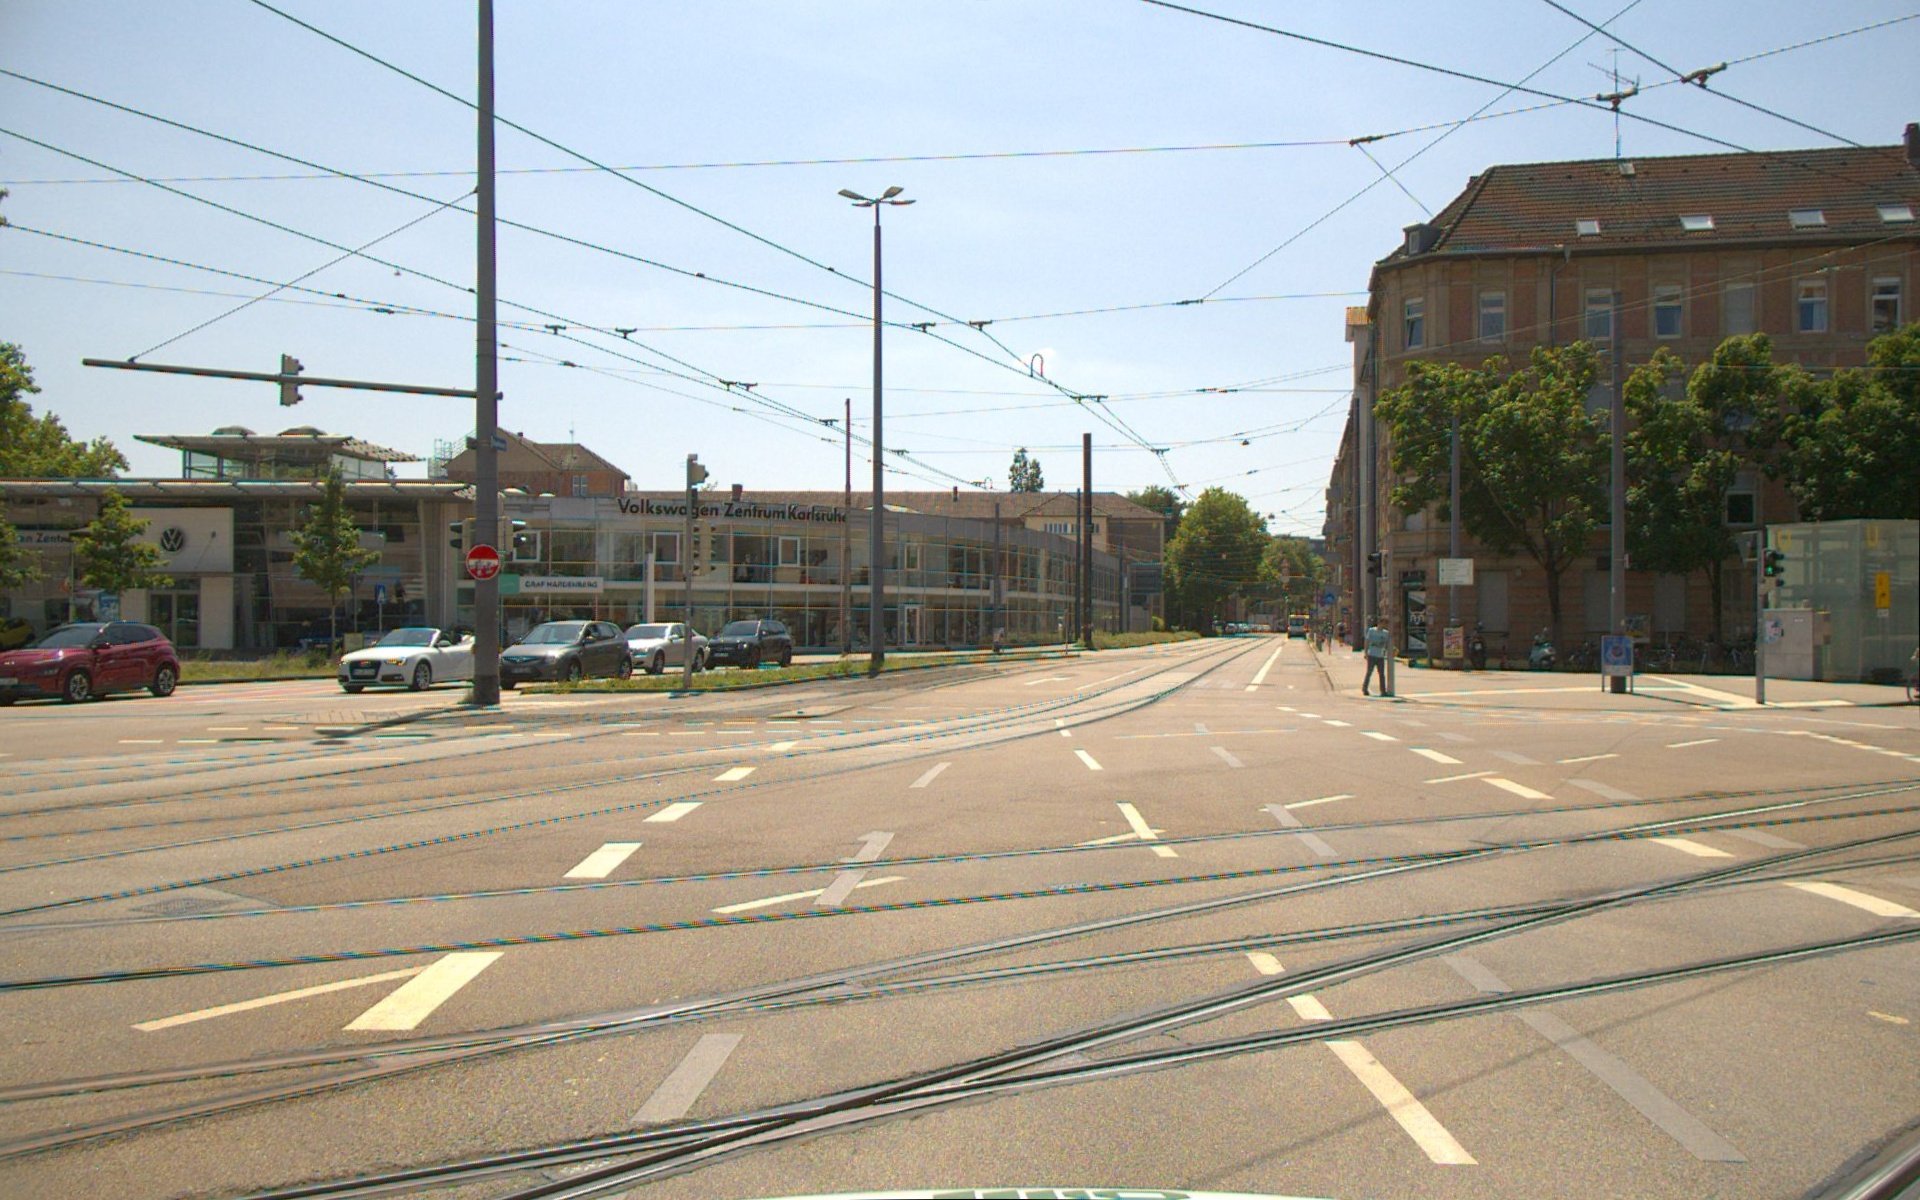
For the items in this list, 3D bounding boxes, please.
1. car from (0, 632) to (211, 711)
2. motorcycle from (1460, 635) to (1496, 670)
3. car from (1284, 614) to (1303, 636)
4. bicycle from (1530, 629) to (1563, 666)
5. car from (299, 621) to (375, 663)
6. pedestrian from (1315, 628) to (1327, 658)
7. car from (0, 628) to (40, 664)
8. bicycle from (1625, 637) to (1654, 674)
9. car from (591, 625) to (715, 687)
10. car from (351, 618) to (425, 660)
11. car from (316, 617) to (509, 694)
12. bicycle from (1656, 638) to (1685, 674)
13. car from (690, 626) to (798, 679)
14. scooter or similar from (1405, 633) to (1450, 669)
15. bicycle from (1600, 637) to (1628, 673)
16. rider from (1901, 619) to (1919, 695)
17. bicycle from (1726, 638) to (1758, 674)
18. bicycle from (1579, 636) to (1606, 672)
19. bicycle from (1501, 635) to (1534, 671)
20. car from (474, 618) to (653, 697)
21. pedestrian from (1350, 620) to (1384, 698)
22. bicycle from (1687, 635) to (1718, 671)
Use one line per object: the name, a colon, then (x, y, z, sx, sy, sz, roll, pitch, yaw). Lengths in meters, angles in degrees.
car: (-17.811, 1.410, 34.016, 1.951, 1.491, 4.850, 0, -1, 10)
motorcycle: (16.795, 1.697, 53.667, 0.568, 1.093, 1.946, 0, -1, 1)
car: (36.627, 2.739, 181.793, 1.951, 2.219, 4.372, 1, -2, 12)
bicycle: (19.126, 1.566, 53.945, 0.433, 1.166, 2.094, 2, -2, 4)
car: (-27.107, 1.835, 72.111, 1.882, 1.737, 3.997, 2, -2, -2)
pedestrian: (24.831, 2.944, 113.813, 0.751, 2.049, 0.664, 1, -2, 9)
car: (-42.098, 1.987, 72.354, 1.733, 1.536, 4.319, 0, -1, -8)
bicycle: (21.773, 1.777, 53.027, 0.539, 1.139, 1.890, 0, -1, 13)
car: (-9.133, 1.633, 49.574, 1.951, 1.770, 4.546, 0, -1, 14)
car: (-24.911, 1.712, 72.163, 1.882, 1.737, 3.997, 2, -2, -2)
car: (-12.144, 1.205, 37.077, 2.032, 1.608, 4.850, 0, -1, 10)
bicycle: (23.032, 1.803, 53.633, 0.539, 1.139, 1.872, 0, -1, 13)
car: (-7.268, 1.742, 56.285, 2.034, 1.712, 4.849, 0, -1, 14)
scooter or similar: (15.953, 1.739, 56.439, 1.775, 1.202, 0.591, 1, -2, -40)
bicycle: (21.003, 1.755, 53.131, 0.539, 1.139, 1.821, 0, -1, 13)
rider: (20.778, 1.223, 35.632, 0.865, 1.629, 0.557, 1, -1, -35)
bicycle: (25.196, 1.789, 53.330, 0.539, 1.139, 1.821, 0, -1, 13)
bicycle: (20.405, 1.737, 53.364, 0.539, 1.139, 1.821, 0, -1, 13)
bicycle: (18.056, 1.715, 53.619, 0.539, 1.139, 1.821, 0, -1, 3)
car: (-8.881, 1.265, 37.553, 1.951, 1.666, 4.849, 0, -1, 14)
pedestrian: (9.241, 1.331, 37.564, 0.455, 1.738, 0.635, 1, -1, -25)
bicycle: (24.049, 1.699, 53.617, 0.539, 1.139, 1.931, 0, -1, 13)
